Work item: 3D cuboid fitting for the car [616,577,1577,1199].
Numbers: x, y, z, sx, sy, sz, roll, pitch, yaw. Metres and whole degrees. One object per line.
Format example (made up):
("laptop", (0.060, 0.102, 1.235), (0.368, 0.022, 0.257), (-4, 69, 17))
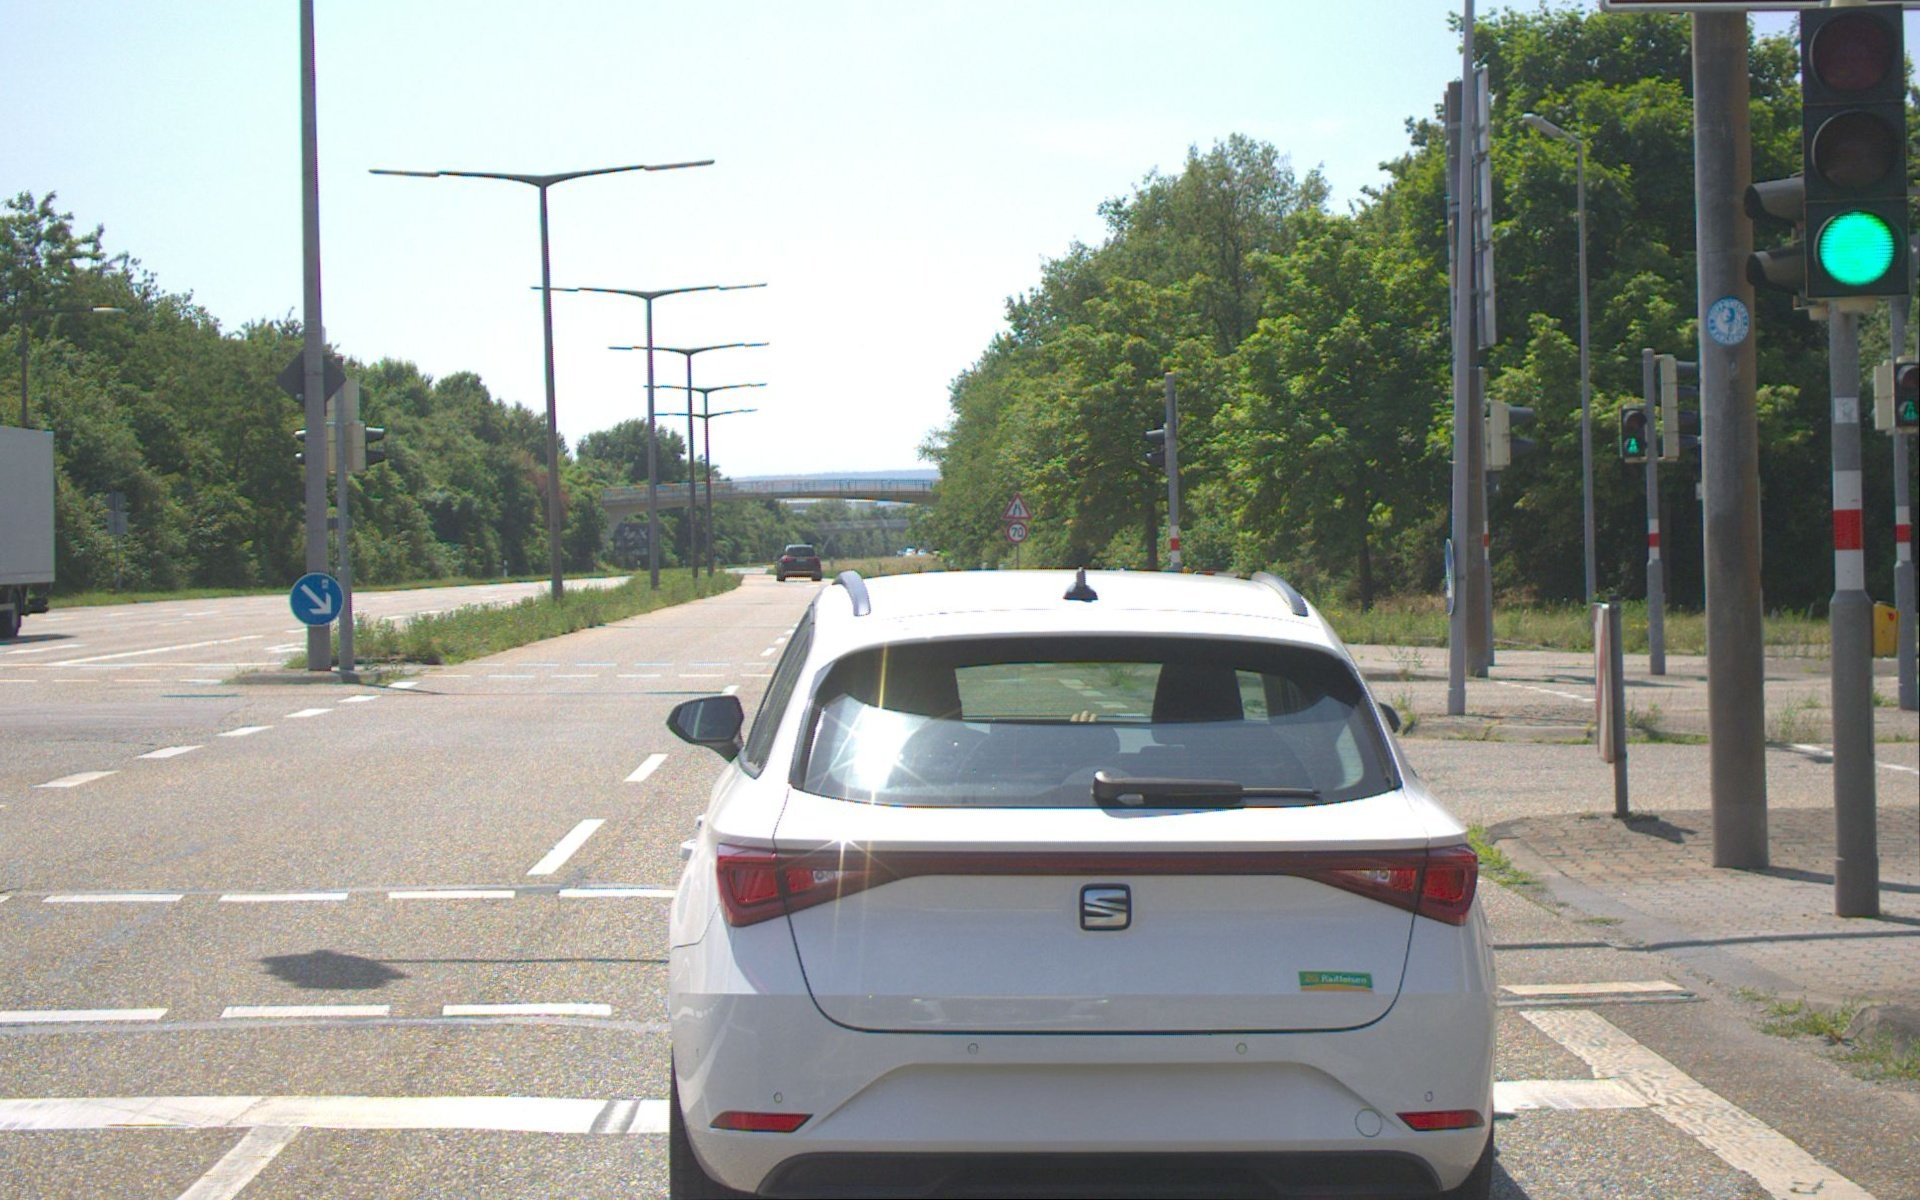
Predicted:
("car", (0.221, 0.673, 8.110), (1.734, 1.424, 3.695), (1, 0, -1))

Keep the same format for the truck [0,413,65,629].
("truck", (-17.170, -1.312, 57.382), (2.687, 3.558, 7.268), (0, 1, -1))

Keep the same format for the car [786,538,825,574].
("car", (-7.689, -2.188, 171.446), (1.855, 1.703, 4.001), (-2, 1, -2))
